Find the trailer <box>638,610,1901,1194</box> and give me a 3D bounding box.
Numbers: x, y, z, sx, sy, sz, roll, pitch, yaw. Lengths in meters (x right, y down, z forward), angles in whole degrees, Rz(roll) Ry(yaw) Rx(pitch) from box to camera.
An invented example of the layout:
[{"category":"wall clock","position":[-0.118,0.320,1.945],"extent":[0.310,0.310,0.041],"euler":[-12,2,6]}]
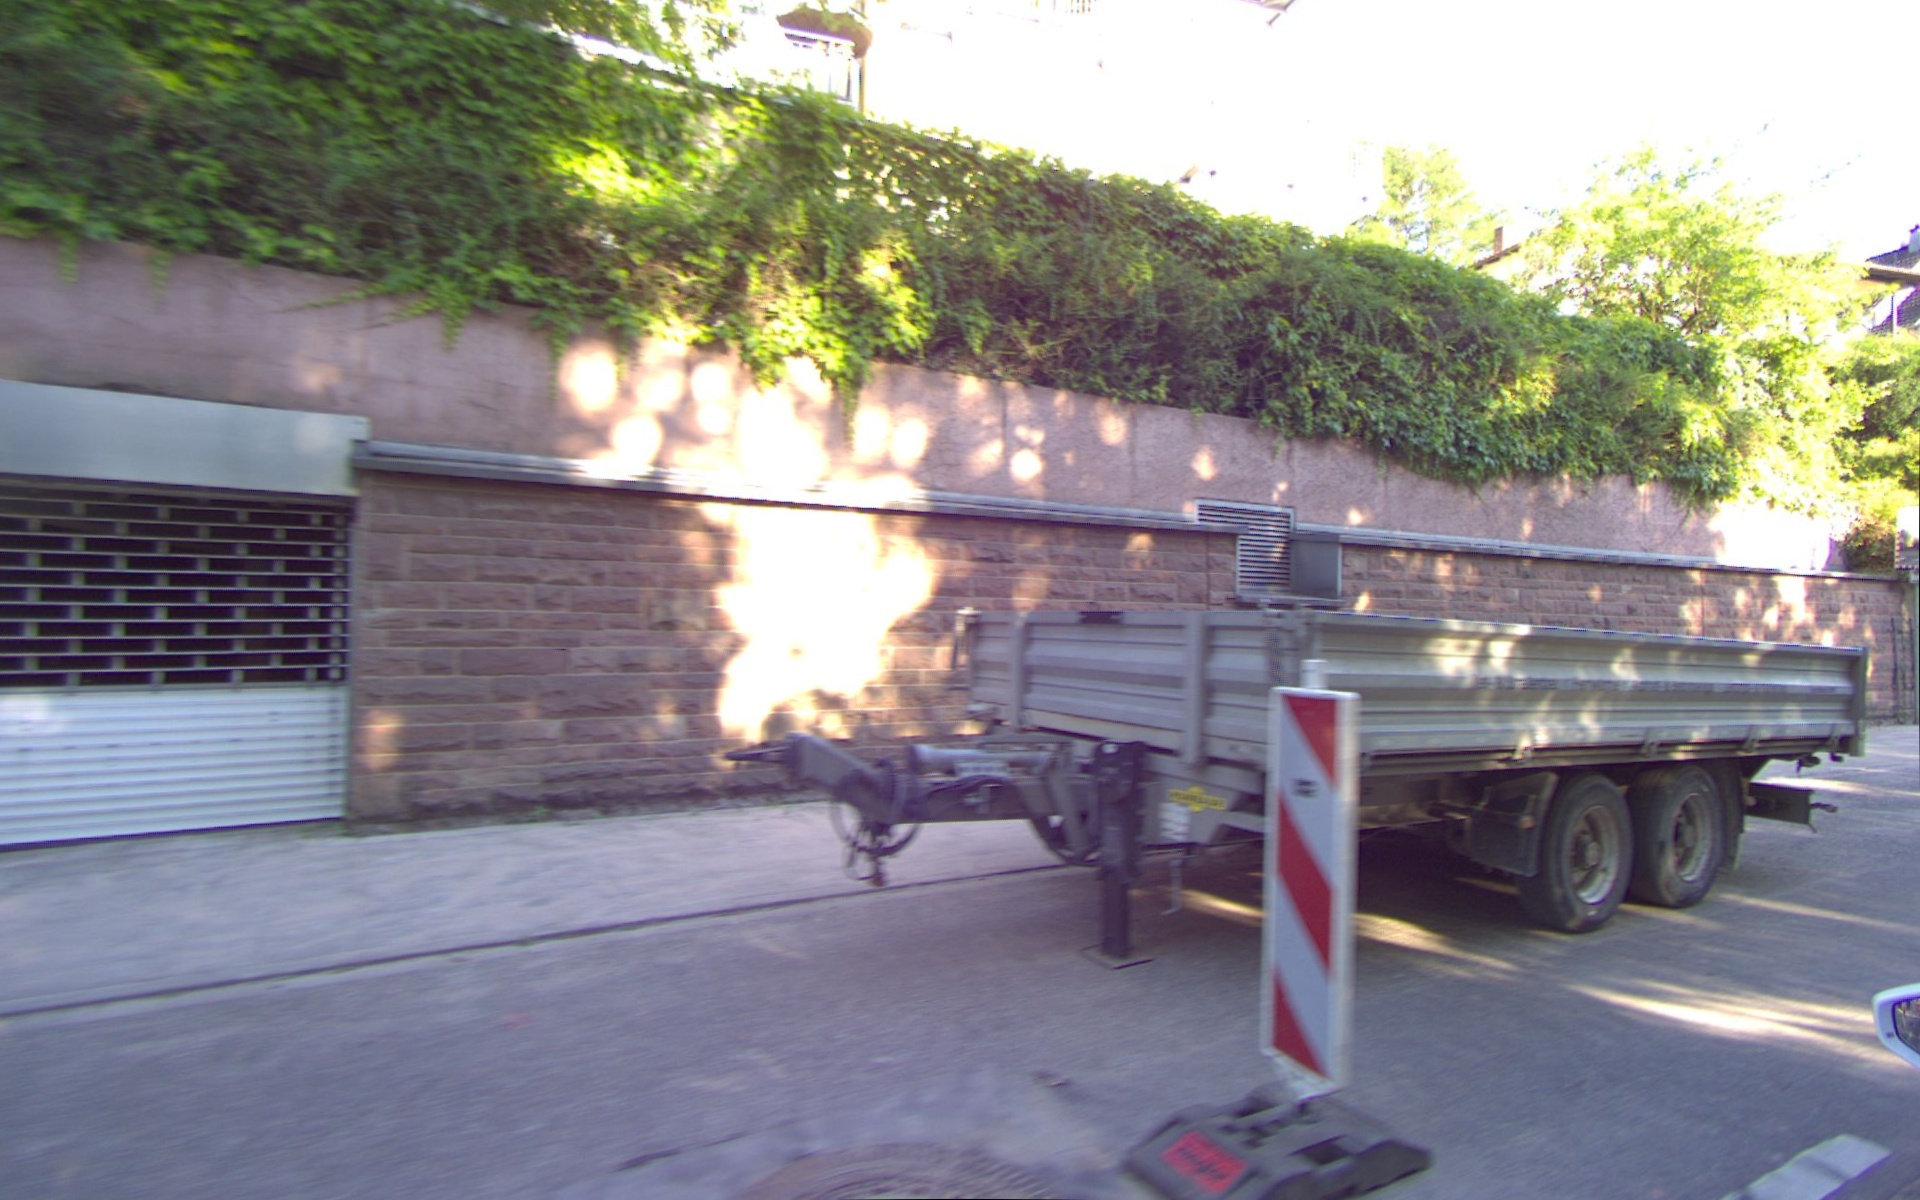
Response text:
[{"category":"trailer","position":[2.110,0.887,5.553],"extent":[7.035,1.509,2.627],"euler":[2,-1,-30]}]
